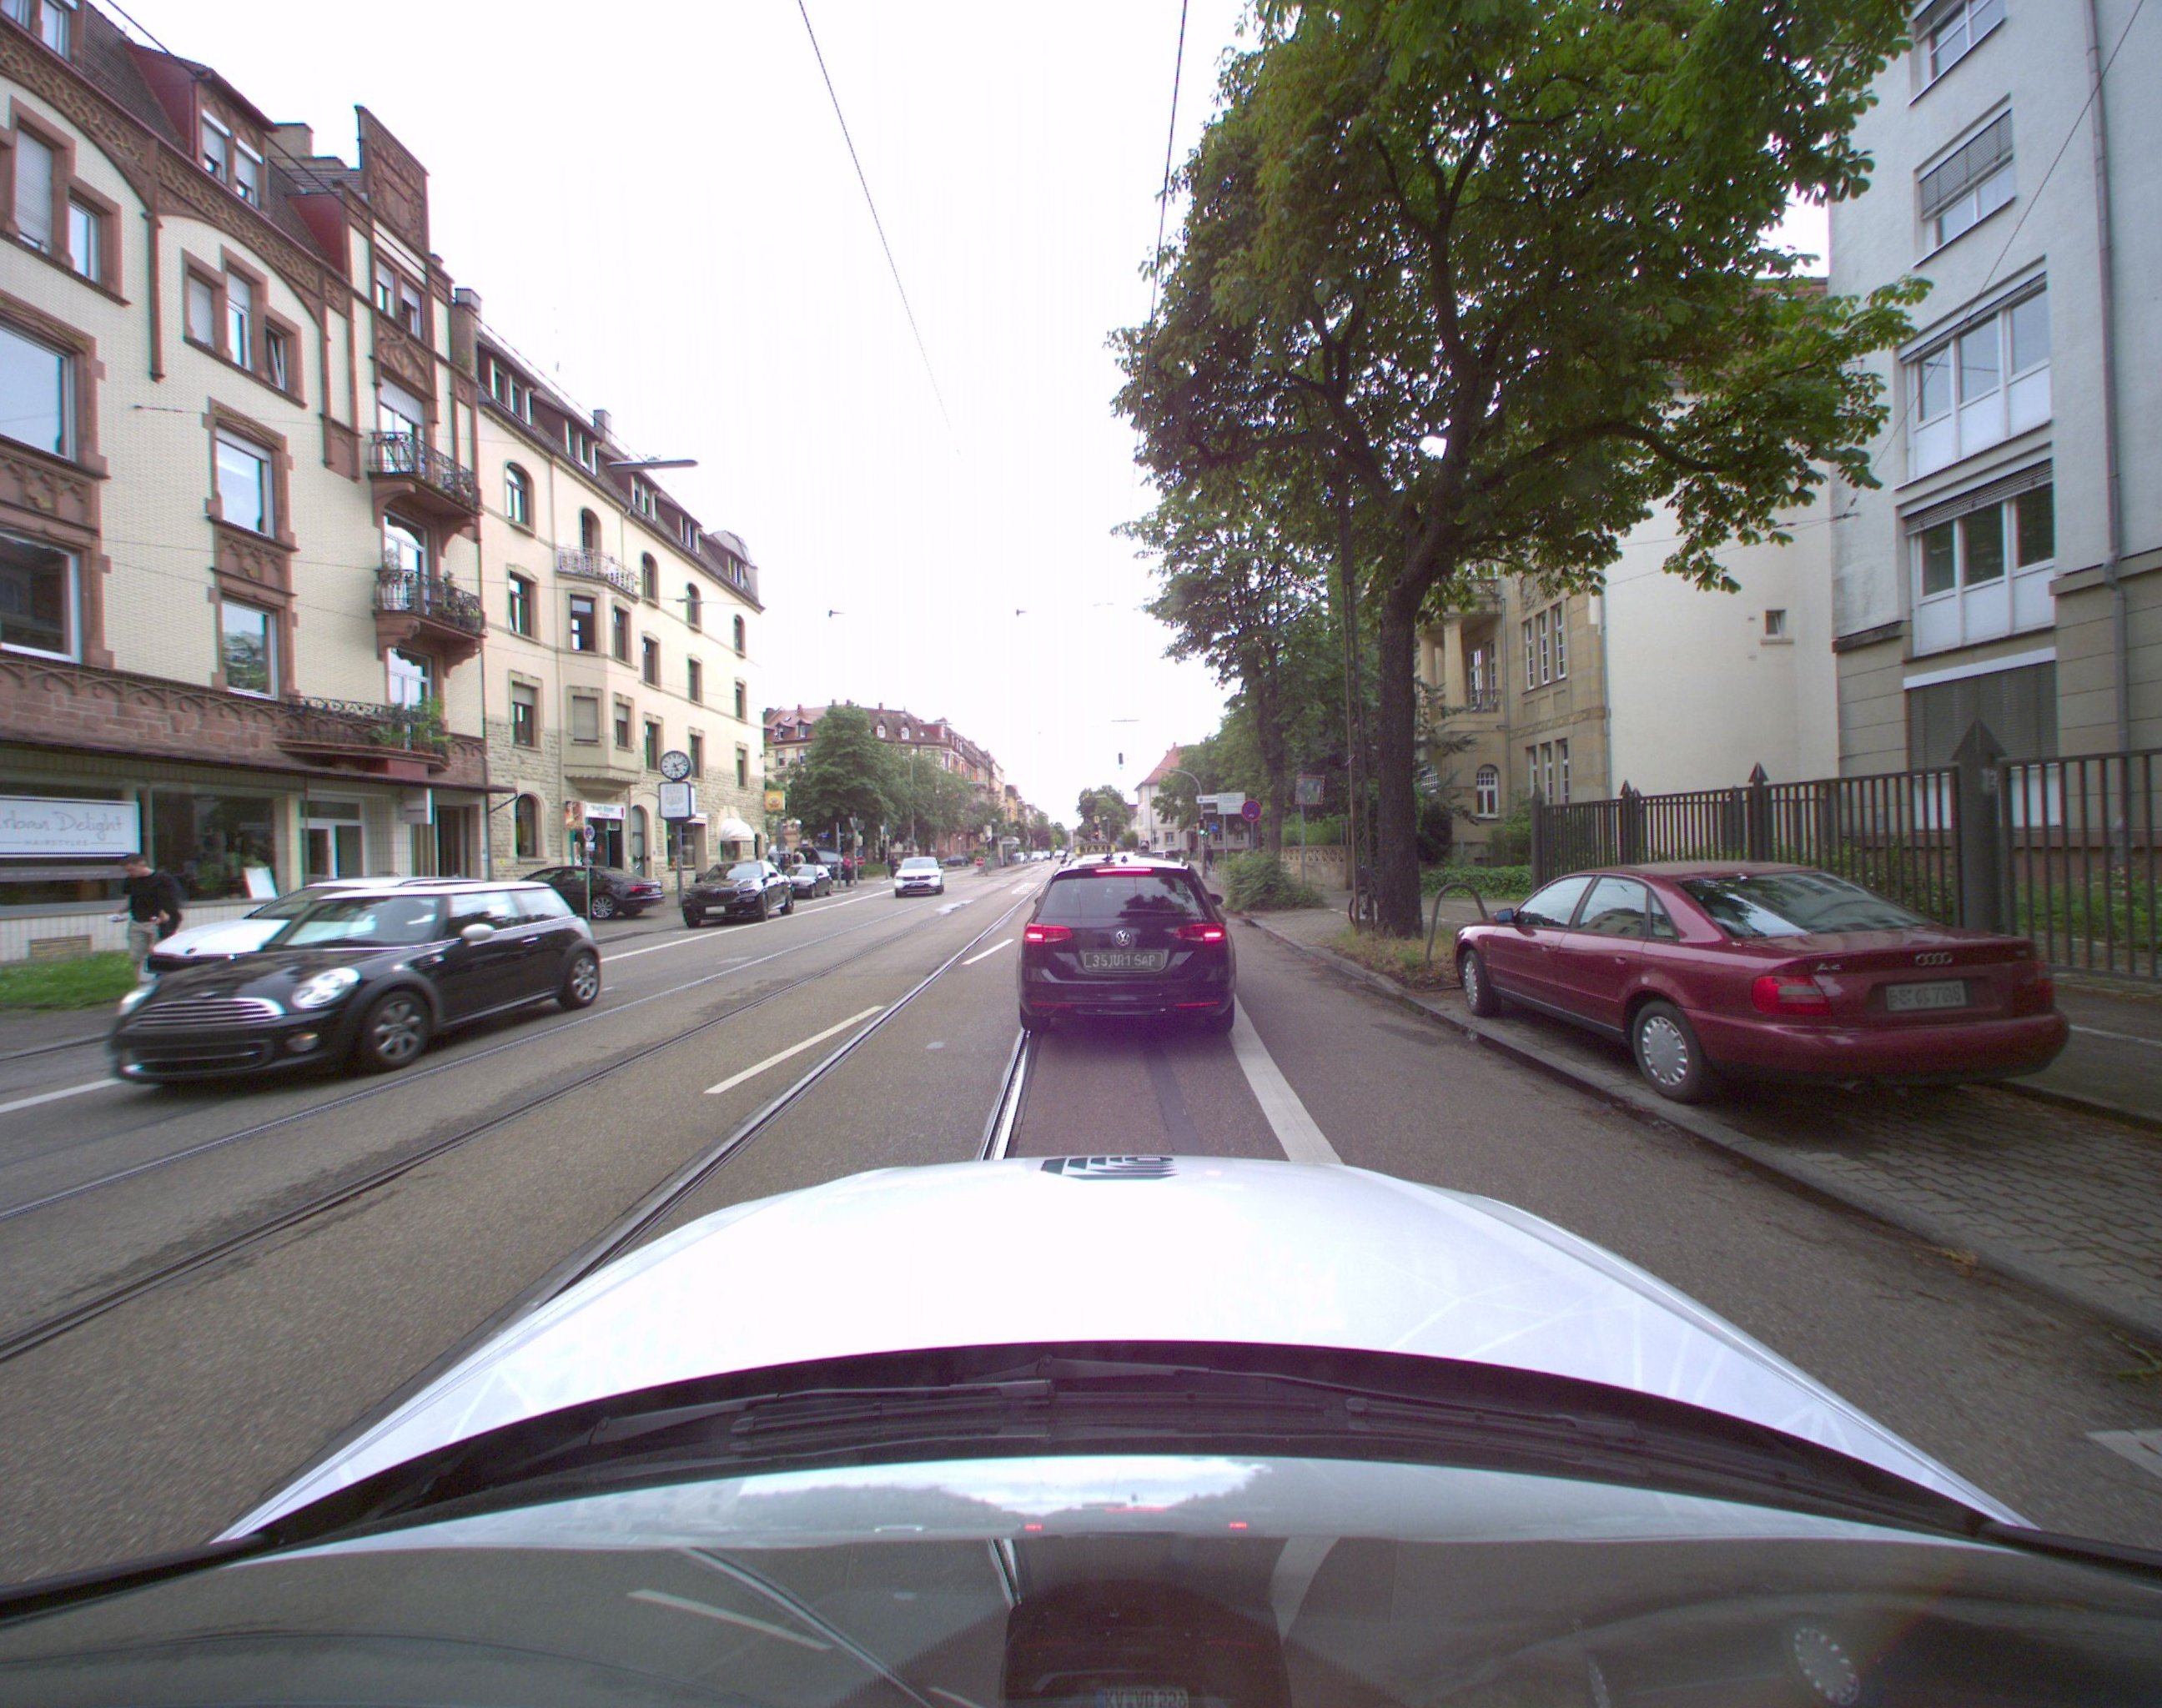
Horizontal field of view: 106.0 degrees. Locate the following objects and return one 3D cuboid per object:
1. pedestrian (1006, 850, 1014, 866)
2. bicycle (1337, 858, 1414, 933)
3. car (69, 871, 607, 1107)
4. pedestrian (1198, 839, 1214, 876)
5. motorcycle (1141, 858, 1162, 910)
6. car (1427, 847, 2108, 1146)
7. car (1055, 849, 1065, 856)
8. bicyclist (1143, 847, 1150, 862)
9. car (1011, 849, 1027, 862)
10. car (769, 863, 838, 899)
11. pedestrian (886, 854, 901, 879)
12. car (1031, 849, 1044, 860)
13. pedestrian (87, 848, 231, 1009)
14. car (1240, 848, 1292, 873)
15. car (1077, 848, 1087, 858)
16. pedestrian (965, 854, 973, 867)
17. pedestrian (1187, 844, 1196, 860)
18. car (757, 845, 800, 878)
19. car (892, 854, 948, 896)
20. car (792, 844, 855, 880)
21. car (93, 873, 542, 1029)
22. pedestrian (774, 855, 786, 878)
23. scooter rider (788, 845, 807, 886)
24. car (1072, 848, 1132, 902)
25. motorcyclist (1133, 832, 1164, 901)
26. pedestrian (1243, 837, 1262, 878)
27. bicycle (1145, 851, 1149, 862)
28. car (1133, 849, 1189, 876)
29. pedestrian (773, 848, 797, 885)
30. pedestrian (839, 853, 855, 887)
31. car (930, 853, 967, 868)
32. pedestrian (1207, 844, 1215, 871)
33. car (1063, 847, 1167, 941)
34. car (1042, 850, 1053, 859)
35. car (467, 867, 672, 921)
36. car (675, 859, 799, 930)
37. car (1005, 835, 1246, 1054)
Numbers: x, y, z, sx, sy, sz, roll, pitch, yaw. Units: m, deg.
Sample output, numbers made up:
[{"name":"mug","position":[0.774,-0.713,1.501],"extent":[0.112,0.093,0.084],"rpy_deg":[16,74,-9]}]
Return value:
[{"name":"pedestrian","position":[-7.042,0.393,80.630],"extent":[0.711,1.520,0.590],"rpy_deg":[-2,0,2]},{"name":"bicycle","position":[5.064,0.670,13.936],"extent":[1.915,1.198,0.428],"rpy_deg":[0,-1,-45]},{"name":"car","position":[-6.040,0.945,7.265],"extent":[1.604,1.422,3.483],"rpy_deg":[-3,0,-2]},{"name":"pedestrian","position":[6.433,0.189,41.918],"extent":[0.583,1.831,0.604],"rpy_deg":[-5,0,1]},{"name":"motorcycle","position":[1.780,0.728,20.763],"extent":[0.444,1.235,1.909],"rpy_deg":[-2,0,4]},{"name":"car","position":[4.354,0.703,6.209],"extent":[1.597,1.399,4.227],"rpy_deg":[-4,0,0]},{"name":"car","position":[-4.408,-0.344,174.672],"extent":[1.788,1.596,4.004],"rpy_deg":[-2,0,3]},{"name":"bicyclist","position":[7.306,0.057,90.929],"extent":[0.648,1.568,0.697],"rpy_deg":[-2,0,7]},{"name":"car","position":[-8.029,0.230,105.900],"extent":[1.715,1.622,3.863],"rpy_deg":[-2,0,0]},{"name":"car","position":[-11.838,1.123,34.993],"extent":[1.644,1.361,4.126],"rpy_deg":[1,0,-2]},{"name":"pedestrian","position":[-13.123,0.867,56.888],"extent":[0.833,1.663,0.591],"rpy_deg":[-2,0,2]},{"name":"car","position":[-6.449,0.070,121.837],"extent":[1.715,1.622,3.863],"rpy_deg":[-2,0,0]},{"name":"pedestrian","position":[-11.223,0.865,9.948],"extent":[0.666,1.844,0.882],"rpy_deg":[-2,0,-1]},{"name":"car","position":[12.263,0.427,53.909],"extent":[1.974,1.577,4.025],"rpy_deg":[-1,0,35]},{"name":"car","position":[0.222,-0.187,178.833],"extent":[2.026,2.014,4.000],"rpy_deg":[-1,0,0]},{"name":"pedestrian","position":[-13.038,0.784,94.874],"extent":[0.582,1.520,0.653],"rpy_deg":[-2,0,36]},{"name":"pedestrian","position":[11.135,-0.223,81.928],"extent":[0.612,1.553,0.577],"rpy_deg":[-1,0,-39]},{"name":"car","position":[-24.750,0.578,66.515],"extent":[2.193,2.527,5.326],"rpy_deg":[-2,0,-32]},{"name":"car","position":[-6.402,0.785,32.796],"extent":[1.696,1.496,3.924],"rpy_deg":[-3,0,-5]},{"name":"car","position":[-18.385,0.607,57.911],"extent":[2.198,2.417,5.315],"rpy_deg":[-2,0,-42]},{"name":"car","position":[-9.764,1.101,11.100],"extent":[1.742,1.484,4.608],"rpy_deg":[-2,0,-1]},{"name":"pedestrian","position":[-22.625,0.916,61.185],"extent":[0.703,1.715,0.546],"rpy_deg":[-2,0,-40]},{"name":"scooter rider","position":[-14.373,0.566,41.344],"extent":[0.640,2.013,0.757],"rpy_deg":[-2,0,-2]},{"name":"car","position":[0.648,0.590,25.790],"extent":[1.718,1.546,4.000],"rpy_deg":[-1,0,0]},{"name":"motorcyclist","position":[1.711,0.314,20.754],"extent":[0.700,1.692,0.805],"rpy_deg":[-2,0,3]},{"name":"pedestrian","position":[7.769,0.140,36.935],"extent":[0.630,1.815,0.725],"rpy_deg":[-2,0,-2]},{"name":"bicycle","position":[7.382,0.309,90.936],"extent":[0.295,1.223,1.433],"rpy_deg":[-2,0,8]},{"name":"car","position":[4.692,0.477,47.176],"extent":[1.874,1.408,4.024],"rpy_deg":[-2,0,27]},{"name":"pedestrian","position":[-16.798,0.692,46.184],"extent":[0.971,2.013,0.835],"rpy_deg":[-2,0,0]},{"name":"pedestrian","position":[-12.611,0.852,43.868],"extent":[0.621,1.842,0.609],"rpy_deg":[-2,0,-2]},{"name":"car","position":[-16.249,0.810,99.895],"extent":[4.021,1.596,1.977],"rpy_deg":[-2,0,-39]},{"name":"pedestrian","position":[9.049,0.232,56.666],"extent":[0.414,1.831,0.517],"rpy_deg":[-5,0,10]},{"name":"car","position":[0.602,0.667,15.733],"extent":[1.718,1.546,4.000],"rpy_deg":[-1,0,0]},{"name":"car","position":[-5.641,0.010,138.042],"extent":[1.715,1.464,3.863],"rpy_deg":[-2,0,0]},{"name":"car","position":[-14.078,1.095,22.630],"extent":[4.417,1.370,1.878],"rpy_deg":[1,0,-5]},{"name":"car","position":[-9.401,1.016,22.714],"extent":[1.882,1.611,4.873],"rpy_deg":[-4,0,-8]},{"name":"car","position":[0.345,0.641,7.900],"extent":[1.718,1.546,4.000],"rpy_deg":[-1,0,0]}]
